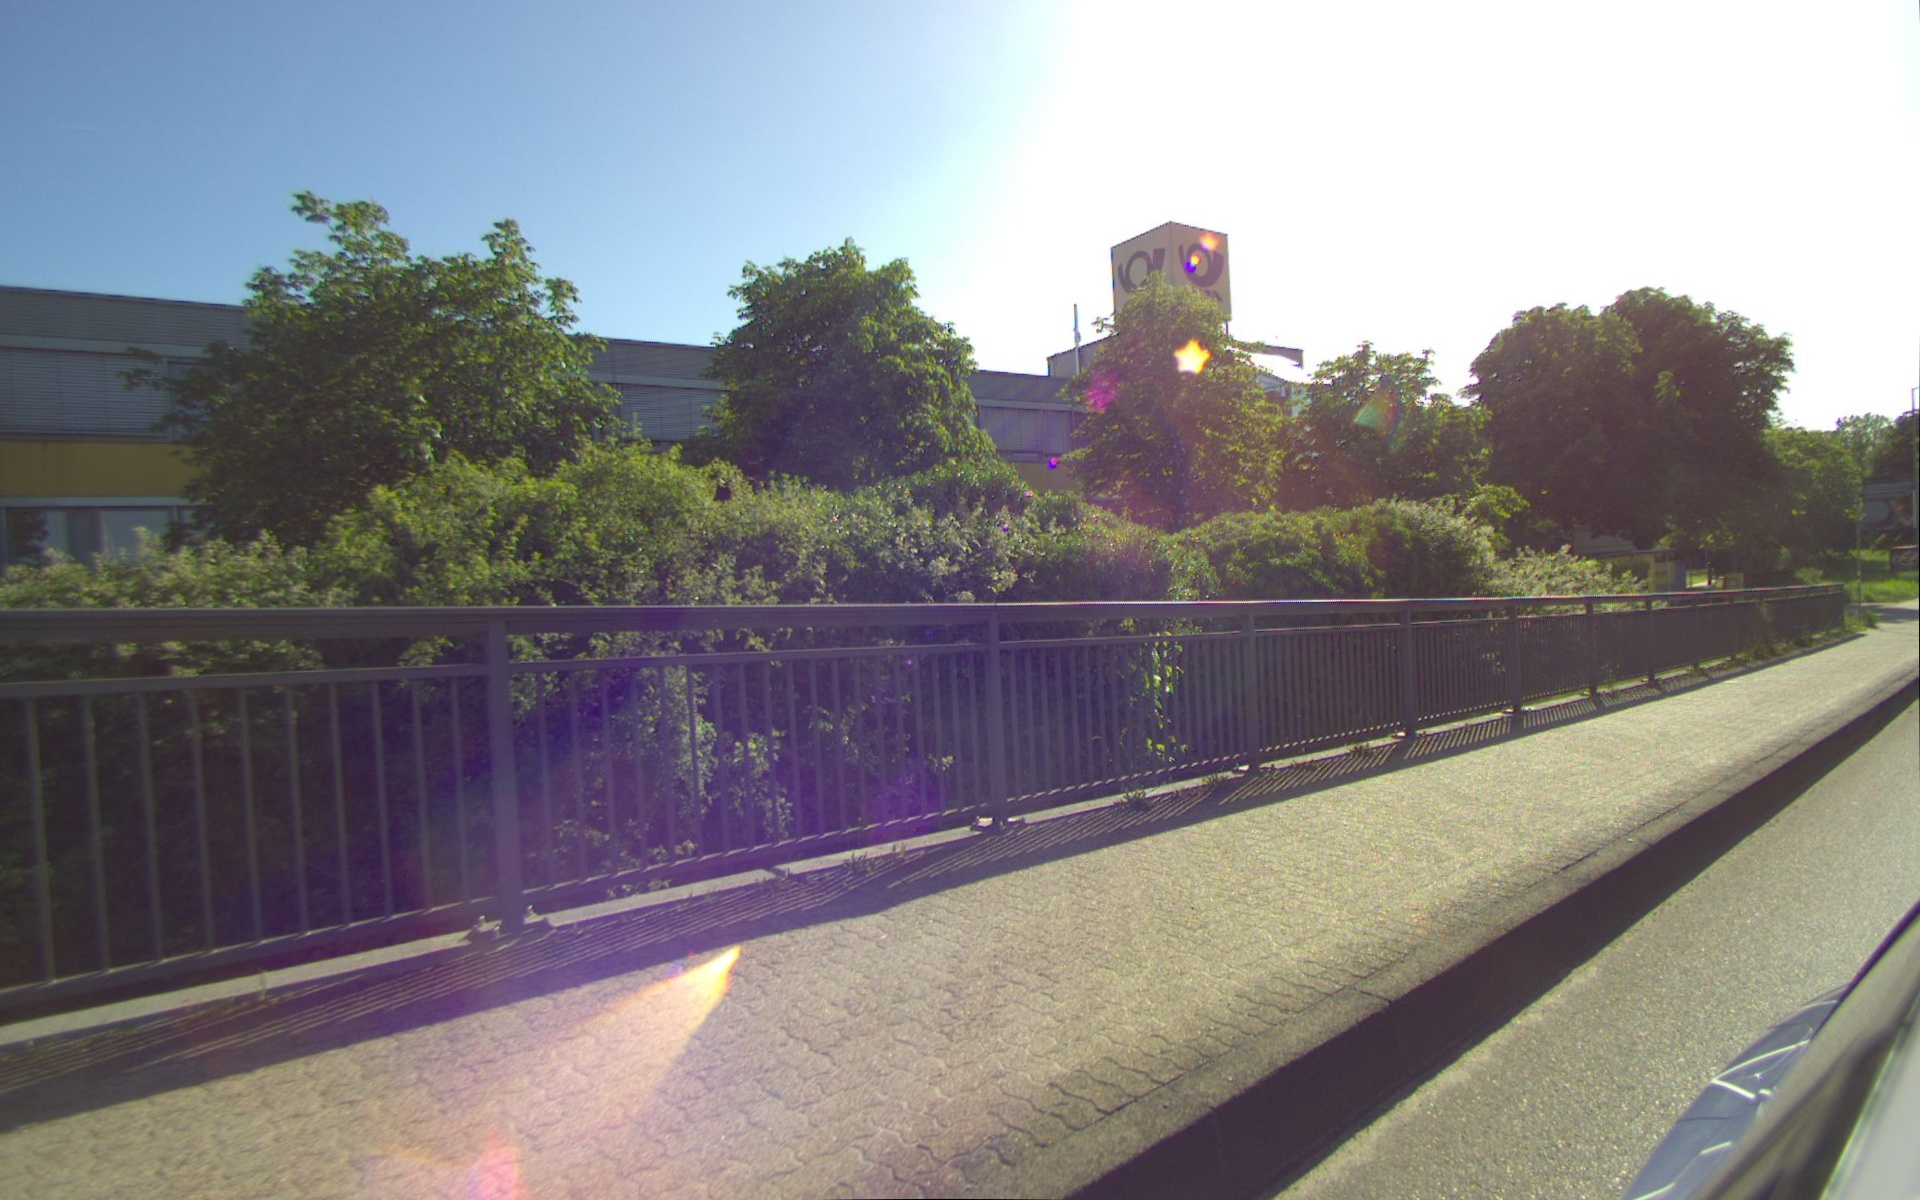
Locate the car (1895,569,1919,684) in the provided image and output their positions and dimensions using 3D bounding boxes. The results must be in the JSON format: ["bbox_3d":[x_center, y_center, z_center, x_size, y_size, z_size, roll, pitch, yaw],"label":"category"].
[{"bbox_3d":[15.163,0.333,13.190,1.680,1.666,4.062,-2,0,-13],"label":"car"}]
